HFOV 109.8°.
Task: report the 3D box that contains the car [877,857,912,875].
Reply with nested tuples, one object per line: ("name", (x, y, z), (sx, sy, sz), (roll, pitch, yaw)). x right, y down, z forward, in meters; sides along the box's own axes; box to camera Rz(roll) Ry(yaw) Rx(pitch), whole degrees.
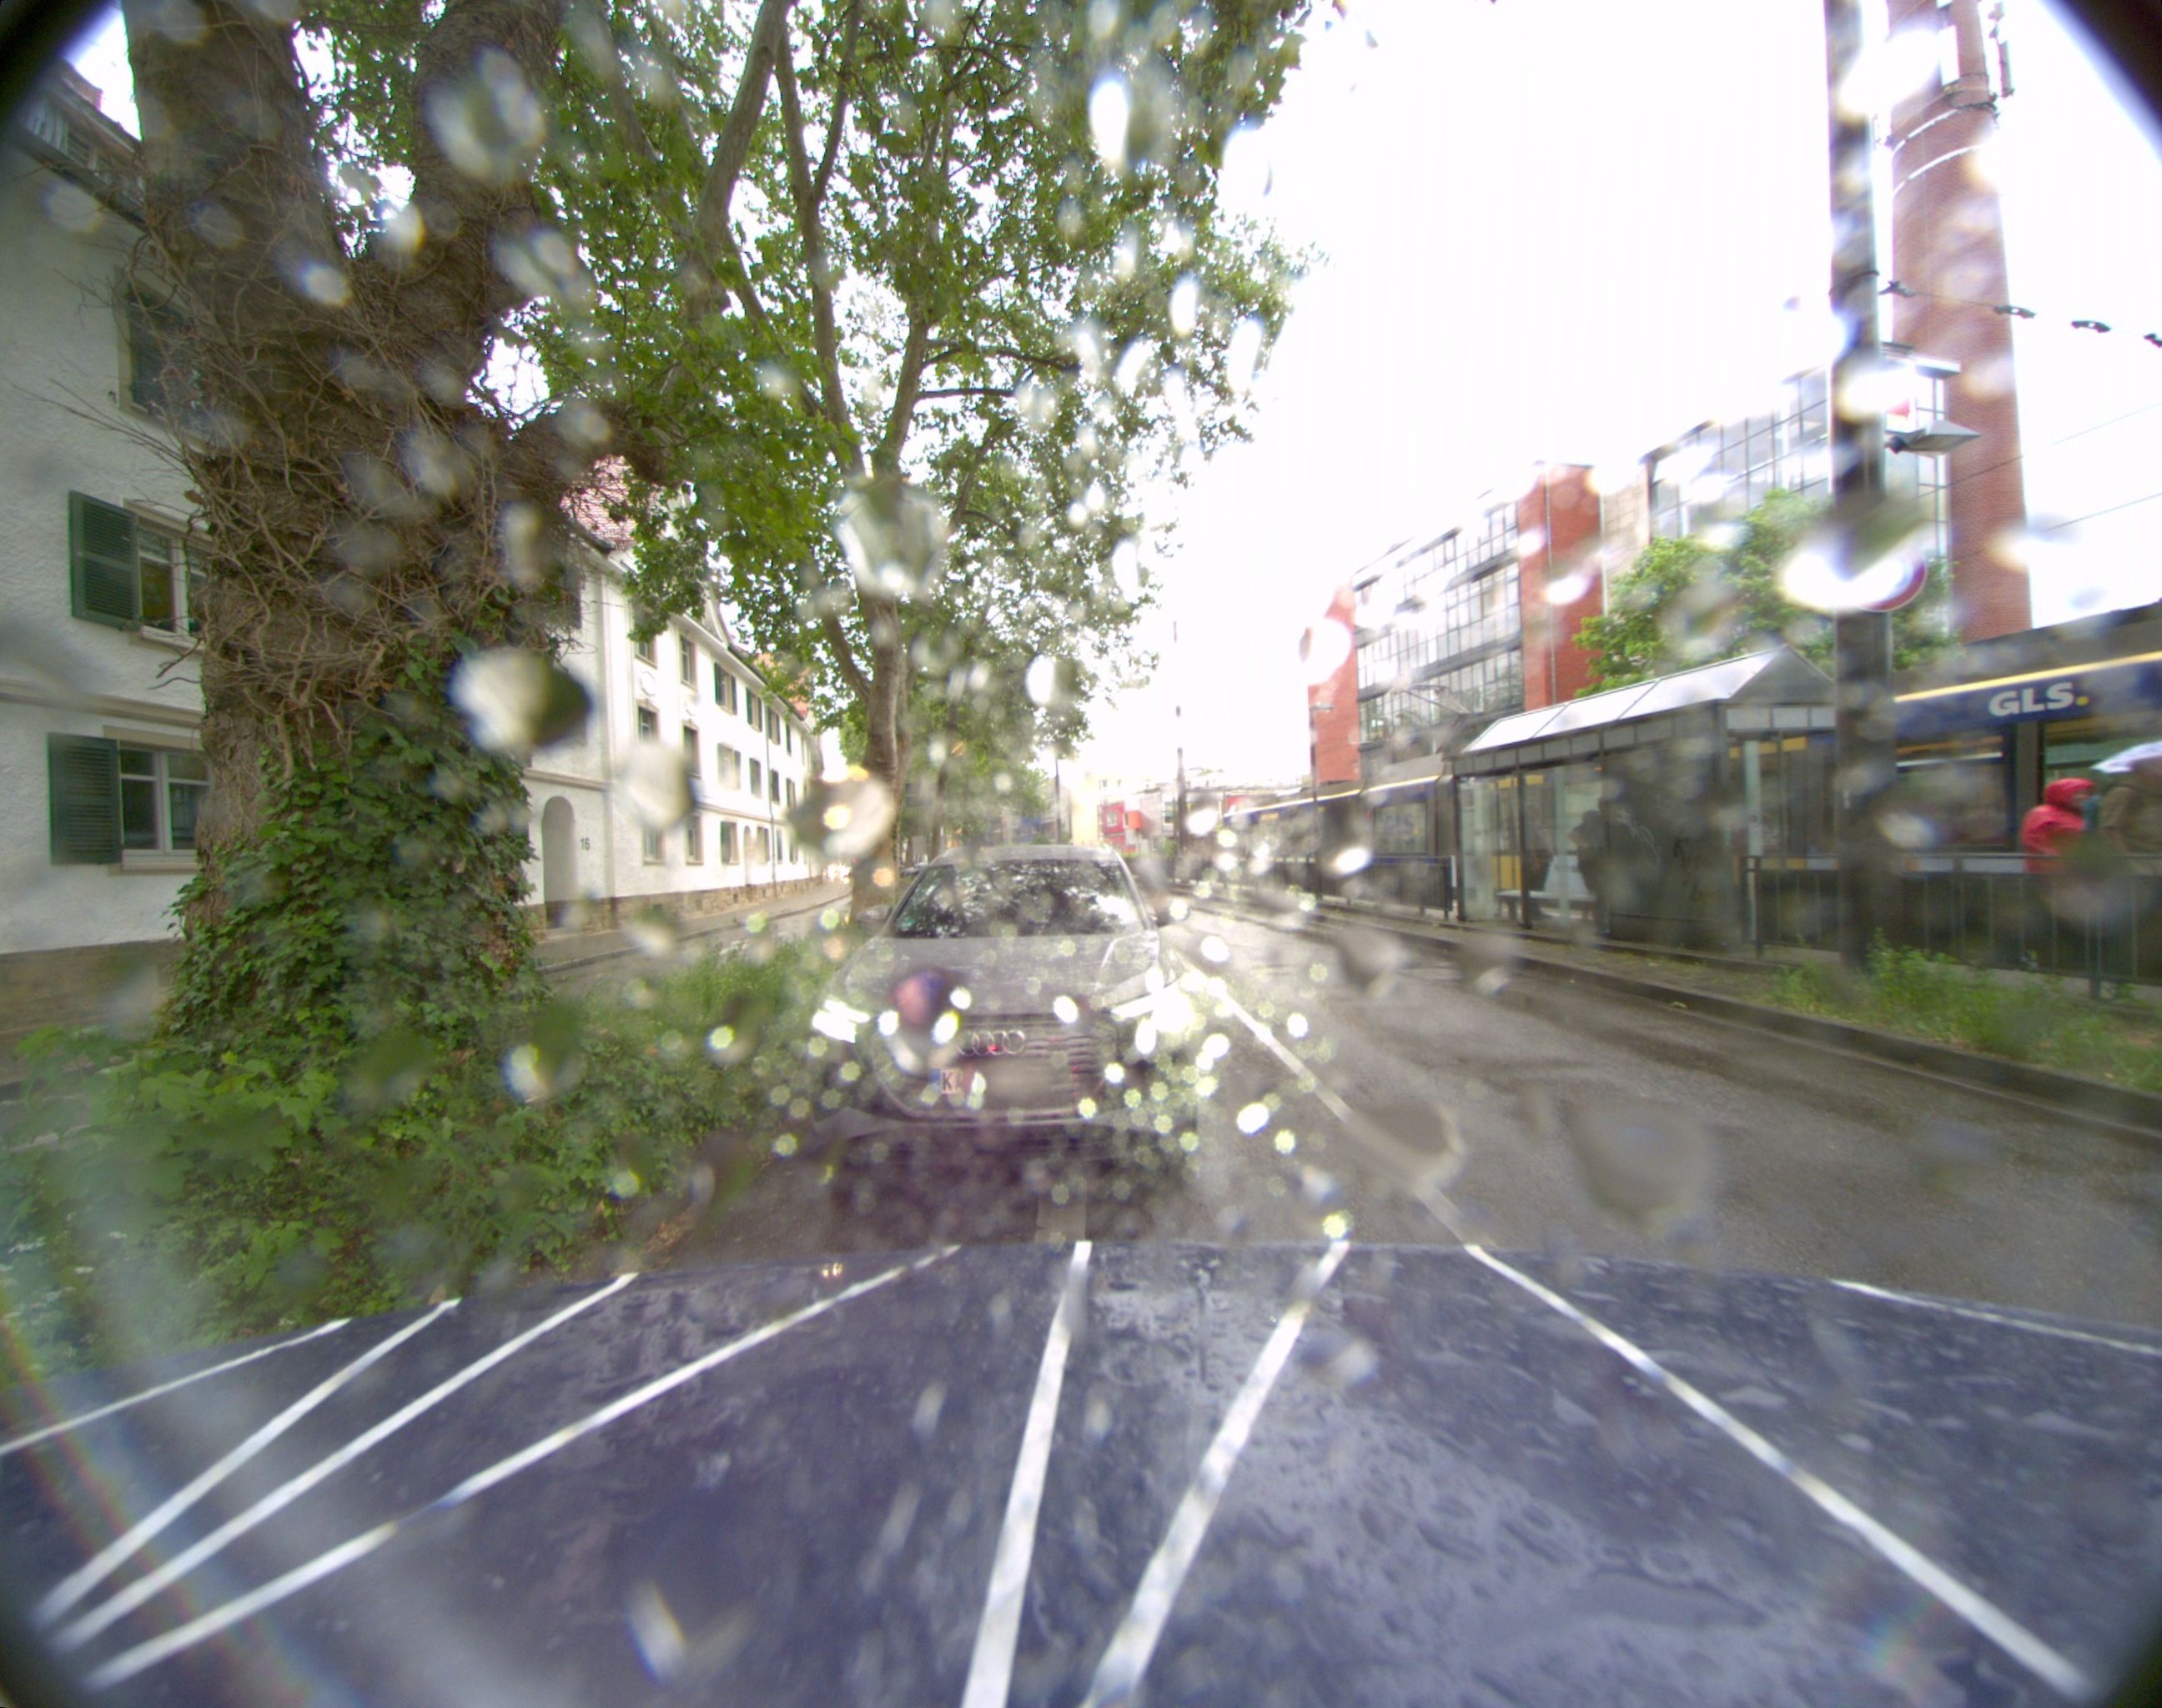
("car", (-23.215, 1.489, 94.653), (4.002, 2.002, 1.997), (-2, 0, -17))

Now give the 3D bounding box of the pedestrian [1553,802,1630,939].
("pedestrian", (6.729, 0.212, 10.039), (0.629, 1.738, 0.564), (-2, 1, 9))

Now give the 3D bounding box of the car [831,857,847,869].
("car", (-46.313, 1.744, 145.472), (2.199, 2.250, 5.401), (-3, 0, -24))

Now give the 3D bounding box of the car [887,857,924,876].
("car", (-20.243, 1.455, 87.558), (4.002, 2.002, 1.997), (-2, 0, -17))

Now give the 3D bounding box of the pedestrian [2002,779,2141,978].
("pedestrian", (8.409, 0.207, 6.456), (0.799, 1.562, 0.658), (1, -2, -36))

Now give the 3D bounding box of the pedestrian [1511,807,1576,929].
("pedestrian", (6.808, 0.200, 11.204), (0.629, 1.738, 0.514), (-2, 1, 9))

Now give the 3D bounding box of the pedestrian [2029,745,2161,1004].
("pedestrian", (8.024, 0.147, 5.500), (0.986, 1.815, 1.076), (0, -2, -10))

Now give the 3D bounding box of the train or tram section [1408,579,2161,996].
("train or tram section", (9.922, -0.604, 10.523), (2.869, 3.525, 13.704), (-2, 0, -9))

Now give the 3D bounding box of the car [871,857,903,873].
("car", (-26.672, 1.523, 104.357), (4.002, 2.002, 1.997), (-2, 0, -17))

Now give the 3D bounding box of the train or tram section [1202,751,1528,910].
("train or tram section", (7.755, -0.559, 24.969), (2.869, 3.525, 15.361), (-2, 0, -8))

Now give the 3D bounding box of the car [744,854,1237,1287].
("car", (-0.417, 0.868, 5.114), (1.917, 1.632, 4.106), (-2, 0, -2))

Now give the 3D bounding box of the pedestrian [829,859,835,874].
("pedestrian", (-29.784, 1.503, 90.920), (0.674, 1.811, 0.678), (-3, 1, -18))
